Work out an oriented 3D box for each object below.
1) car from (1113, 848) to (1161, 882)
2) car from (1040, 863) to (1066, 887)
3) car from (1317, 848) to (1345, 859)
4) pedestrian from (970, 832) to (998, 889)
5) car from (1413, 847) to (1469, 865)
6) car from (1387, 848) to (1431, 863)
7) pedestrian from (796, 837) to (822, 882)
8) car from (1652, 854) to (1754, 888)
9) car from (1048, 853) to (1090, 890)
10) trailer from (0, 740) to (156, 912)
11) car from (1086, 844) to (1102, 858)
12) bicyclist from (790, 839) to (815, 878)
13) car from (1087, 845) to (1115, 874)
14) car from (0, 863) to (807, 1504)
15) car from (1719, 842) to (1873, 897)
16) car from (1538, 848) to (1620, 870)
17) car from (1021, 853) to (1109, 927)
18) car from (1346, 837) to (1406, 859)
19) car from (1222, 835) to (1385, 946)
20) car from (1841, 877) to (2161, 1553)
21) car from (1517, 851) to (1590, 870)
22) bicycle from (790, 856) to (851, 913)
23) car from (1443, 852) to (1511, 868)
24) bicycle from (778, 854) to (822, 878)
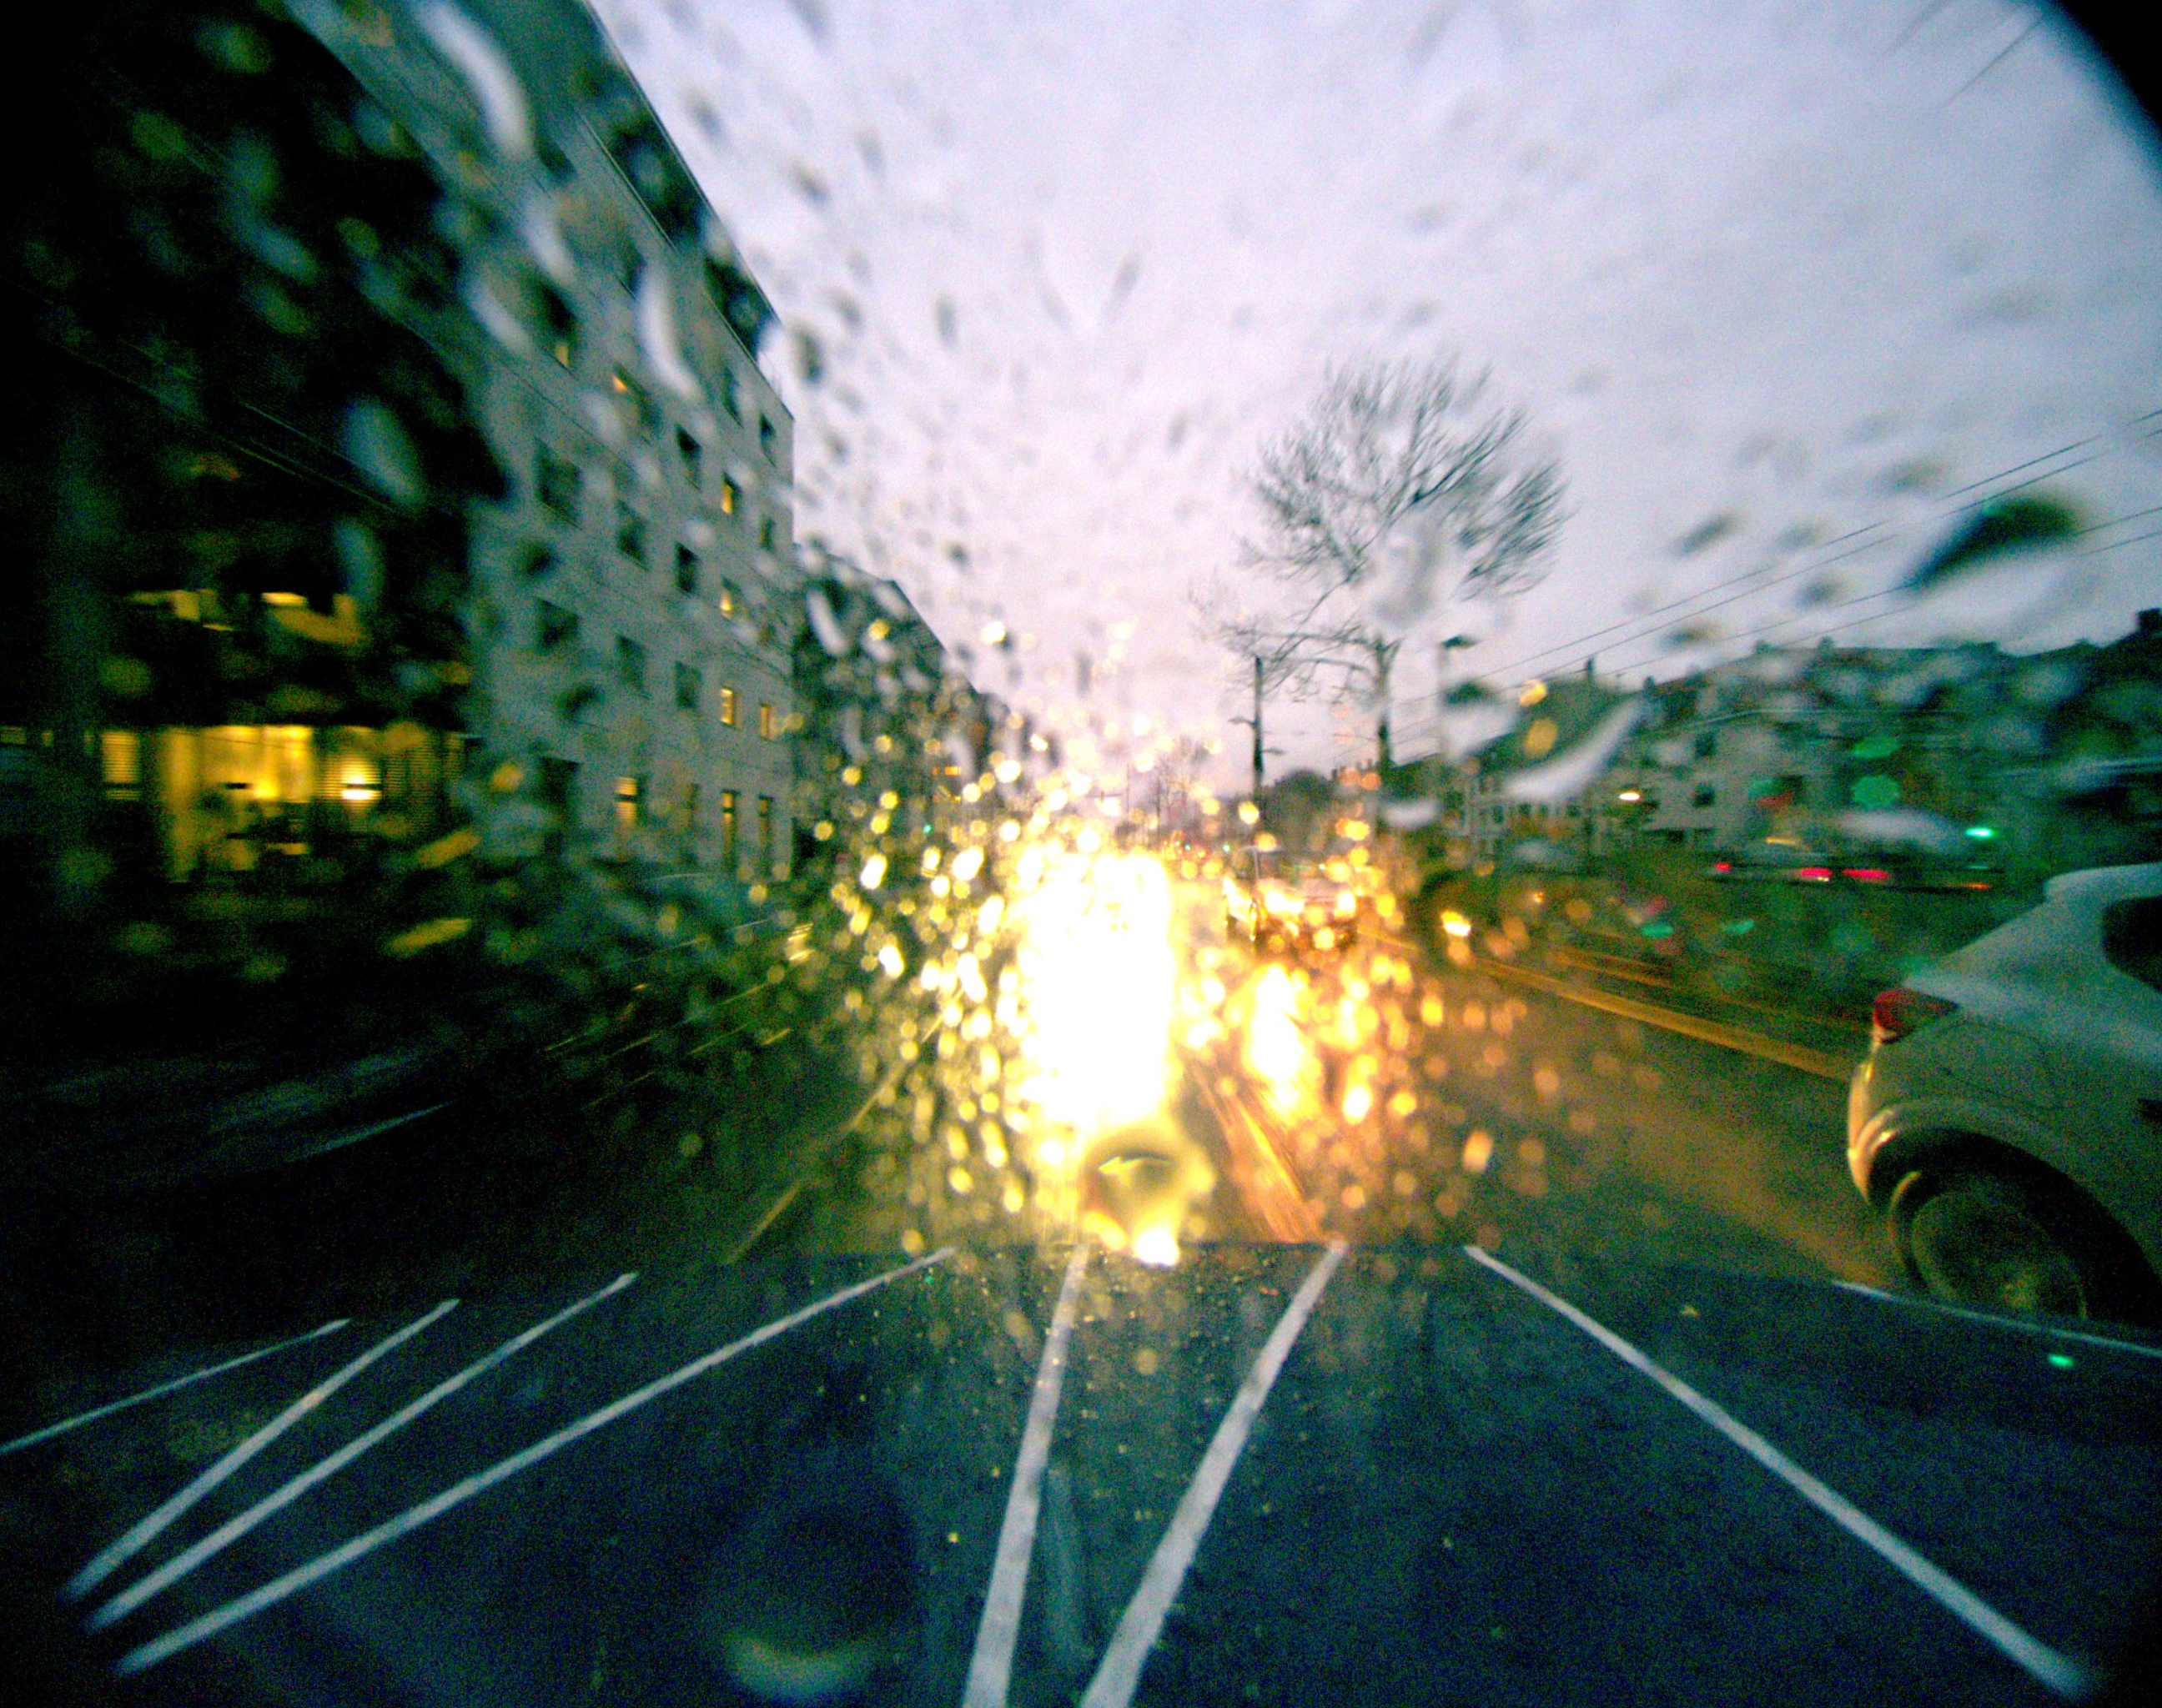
[{"bbox_3d":[2.650,0.492,36.835,1.975,1.492,4.091,-2,0,0],"label":"car"},{"bbox_3d":[-2.218,1.612,60.093,1.609,1.666,3.685,-1,1,4],"label":"car"},{"bbox_3d":[31.714,-0.100,96.377,3.197,1.309,1.554,-1,2,31],"label":"car"},{"bbox_3d":[-3.210,0.210,25.164,0.773,1.798,0.699,4,2,-2],"label":"pedestrian"},{"bbox_3d":[30.249,0.171,63.892,4.001,1.496,1.316,0,2,36],"label":"car"},{"bbox_3d":[30.411,0.173,70.460,3.599,1.376,1.316,0,0,32],"label":"car"},{"bbox_3d":[-10.833,0.207,30.276,0.739,1.726,0.702,-2,2,-2],"label":"pedestrian"},{"bbox_3d":[28.777,0.761,35.327,1.519,1.360,3.999,-2,1,0],"label":"car"},{"bbox_3d":[-0.486,0.775,35.271,1.764,1.520,3.734,-2,1,1],"label":"car"},{"bbox_3d":[-19.263,-0.436,12.013,6.275,2.566,2.209,0,0,-3],"label":"trailer"},{"bbox_3d":[1.830,-0.424,105.331,1.998,1.784,3.810,-3,1,1],"label":"car"},{"bbox_3d":[-13.093,0.235,35.731,0.730,1.811,0.842,-1,-2,24],"label":"bicyclist"},{"bbox_3d":[1.357,0.310,50.317,1.729,1.730,4.054,-1,1,2],"label":"car"},{"bbox_3d":[-3.044,0.851,4.006,1.600,1.432,4.227,1,1,1],"label":"car"},{"bbox_3d":[23.218,0.441,24.865,1.526,1.630,3.749,0,1,1],"label":"car"},{"bbox_3d":[29.524,0.289,45.113,3.989,1.248,1.447,-1,2,34],"label":"car"},{"bbox_3d":[-0.255,0.733,17.476,1.757,1.418,3.804,-1,1,2],"label":"car"},{"bbox_3d":[32.085,-0.621,82.709,5.893,2.242,1.825,0,2,34],"label":"car"},{"bbox_3d":[3.782,0.519,13.653,2.020,1.667,4.000,-1,1,5],"label":"car"},{"bbox_3d":[3.192,0.849,0.407,1.712,1.457,4.000,-1,1,3],"label":"car"},{"bbox_3d":[31.085,0.432,49.992,3.988,1.125,1.364,-1,2,36],"label":"car"},{"bbox_3d":[-5.675,0.637,16.689,0.552,1.109,2.166,1,2,1],"label":"bicycle"},{"bbox_3d":[29.924,0.450,57.466,4.393,1.125,1.250,0,2,35],"label":"car"},{"bbox_3d":[-13.243,0.564,35.816,1.863,1.084,0.856,-1,-2,24],"label":"bicycle"}]
